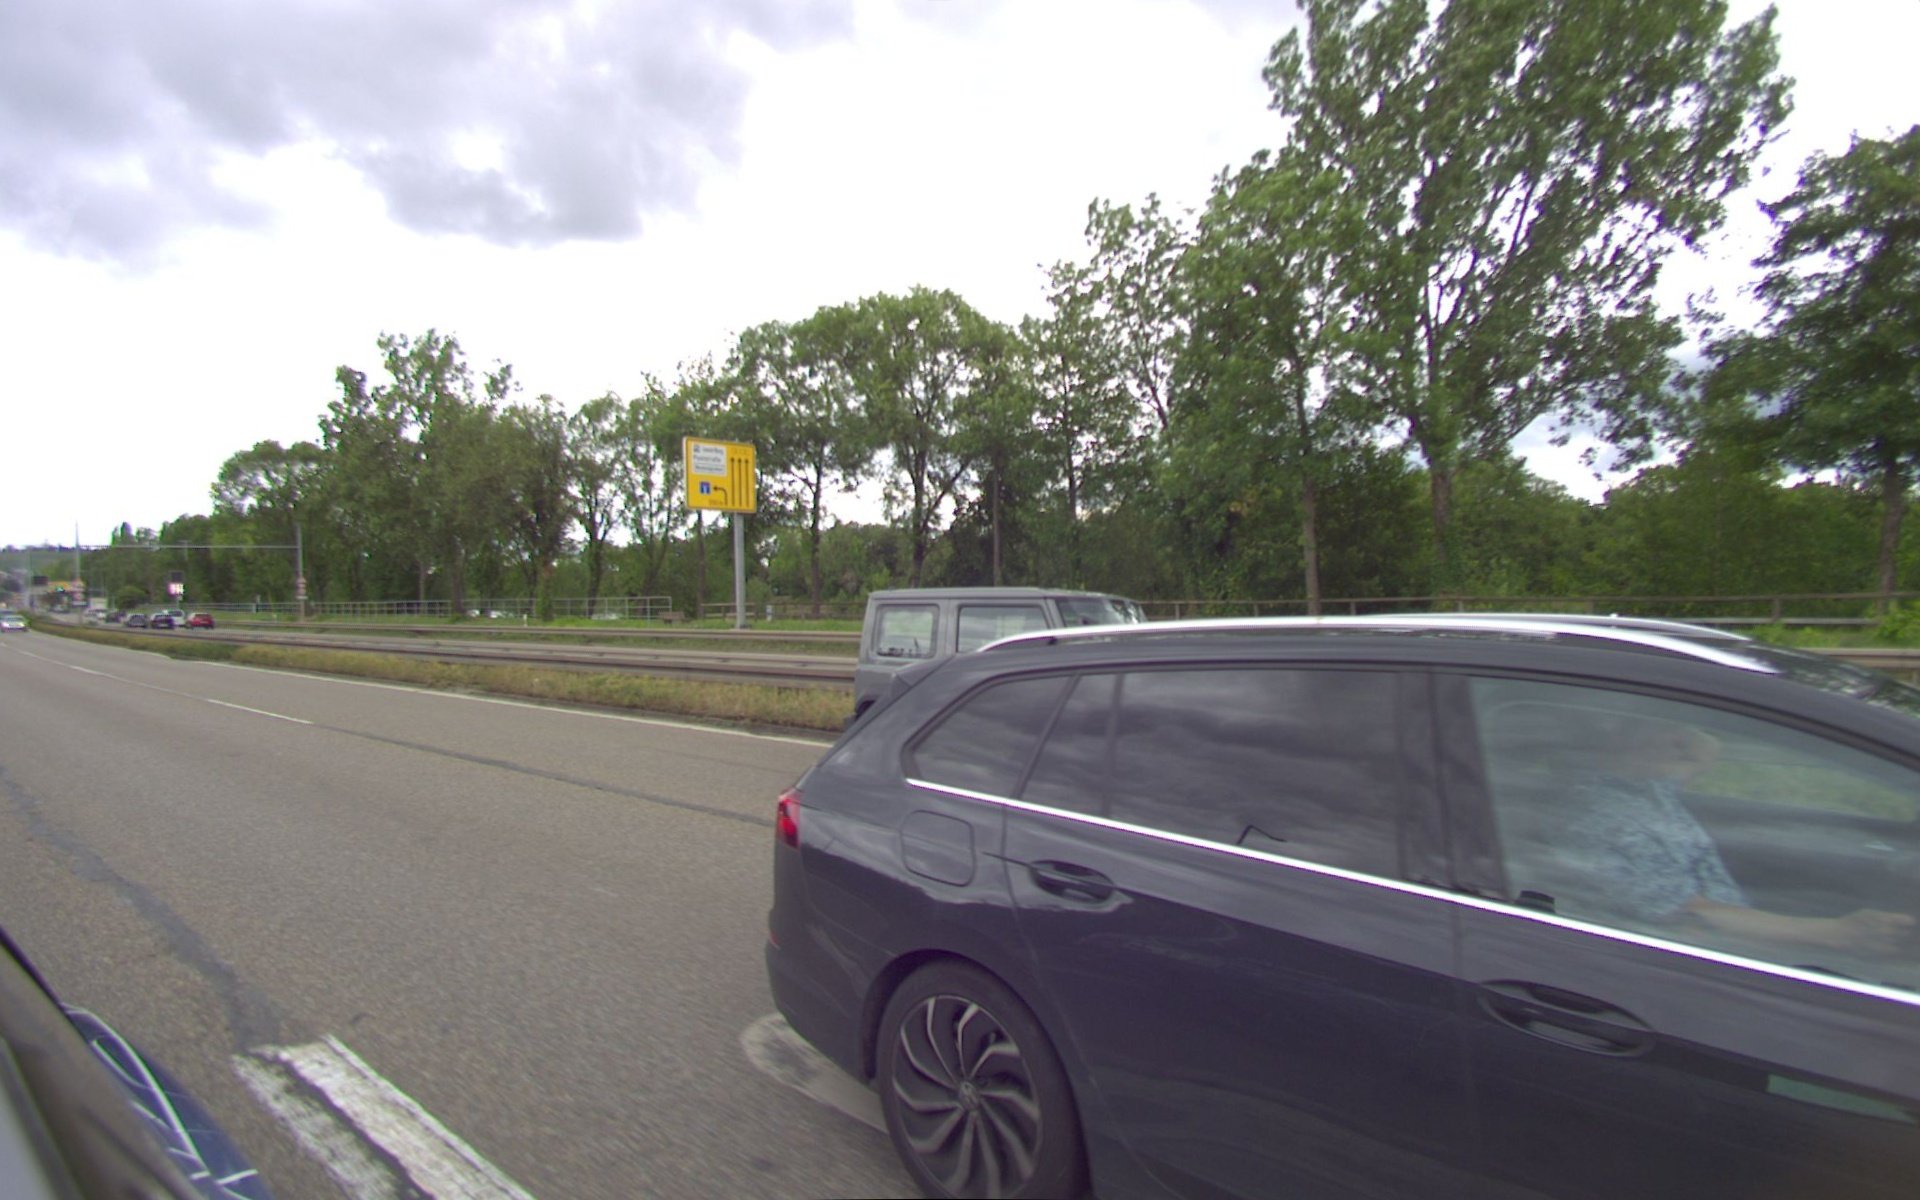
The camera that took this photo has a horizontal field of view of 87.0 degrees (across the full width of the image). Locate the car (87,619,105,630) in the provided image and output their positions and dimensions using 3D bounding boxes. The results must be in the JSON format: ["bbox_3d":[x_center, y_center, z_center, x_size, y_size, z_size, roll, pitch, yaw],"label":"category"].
[{"bbox_3d":[-137.456,3.890,160.982,4.721,1.687,1.845,-2,-1,45],"label":"car"}]

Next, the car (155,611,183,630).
[{"bbox_3d":[-81.119,2.142,103.746,4.562,1.898,1.593,-1,-1,44],"label":"car"}]

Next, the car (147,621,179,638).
[{"bbox_3d":[-68.688,2.550,87.154,3.912,1.435,1.642,-1,-1,44],"label":"car"}]

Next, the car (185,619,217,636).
[{"bbox_3d":[-69.997,2.546,93.343,4.381,1.476,1.698,-1,-1,44],"label":"car"}]

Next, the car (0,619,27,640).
[{"bbox_3d":[-83.241,2.620,88.813,1.857,1.738,4.148,-2,0,-45],"label":"car"}]

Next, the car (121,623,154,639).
[{"bbox_3d":[-80.380,3.002,98.864,5.552,1.476,1.841,-1,-1,44],"label":"car"}]

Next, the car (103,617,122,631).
[{"bbox_3d":[-112.722,3.196,134.547,1.706,1.788,3.744,0,-1,-44],"label":"car"}]

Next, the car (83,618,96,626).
[{"bbox_3d":[-169.908,4.258,197.431,1.678,1.617,4.542,2,-2,-44],"label":"car"}]

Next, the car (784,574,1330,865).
[{"bbox_3d":[0.580,0.758,7.876,3.997,1.699,1.680,-1,-2,40],"label":"car"}]

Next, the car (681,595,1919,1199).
[{"bbox_3d":[1.621,0.732,2.093,4.898,1.434,1.826,-1,0,41],"label":"car"}]
